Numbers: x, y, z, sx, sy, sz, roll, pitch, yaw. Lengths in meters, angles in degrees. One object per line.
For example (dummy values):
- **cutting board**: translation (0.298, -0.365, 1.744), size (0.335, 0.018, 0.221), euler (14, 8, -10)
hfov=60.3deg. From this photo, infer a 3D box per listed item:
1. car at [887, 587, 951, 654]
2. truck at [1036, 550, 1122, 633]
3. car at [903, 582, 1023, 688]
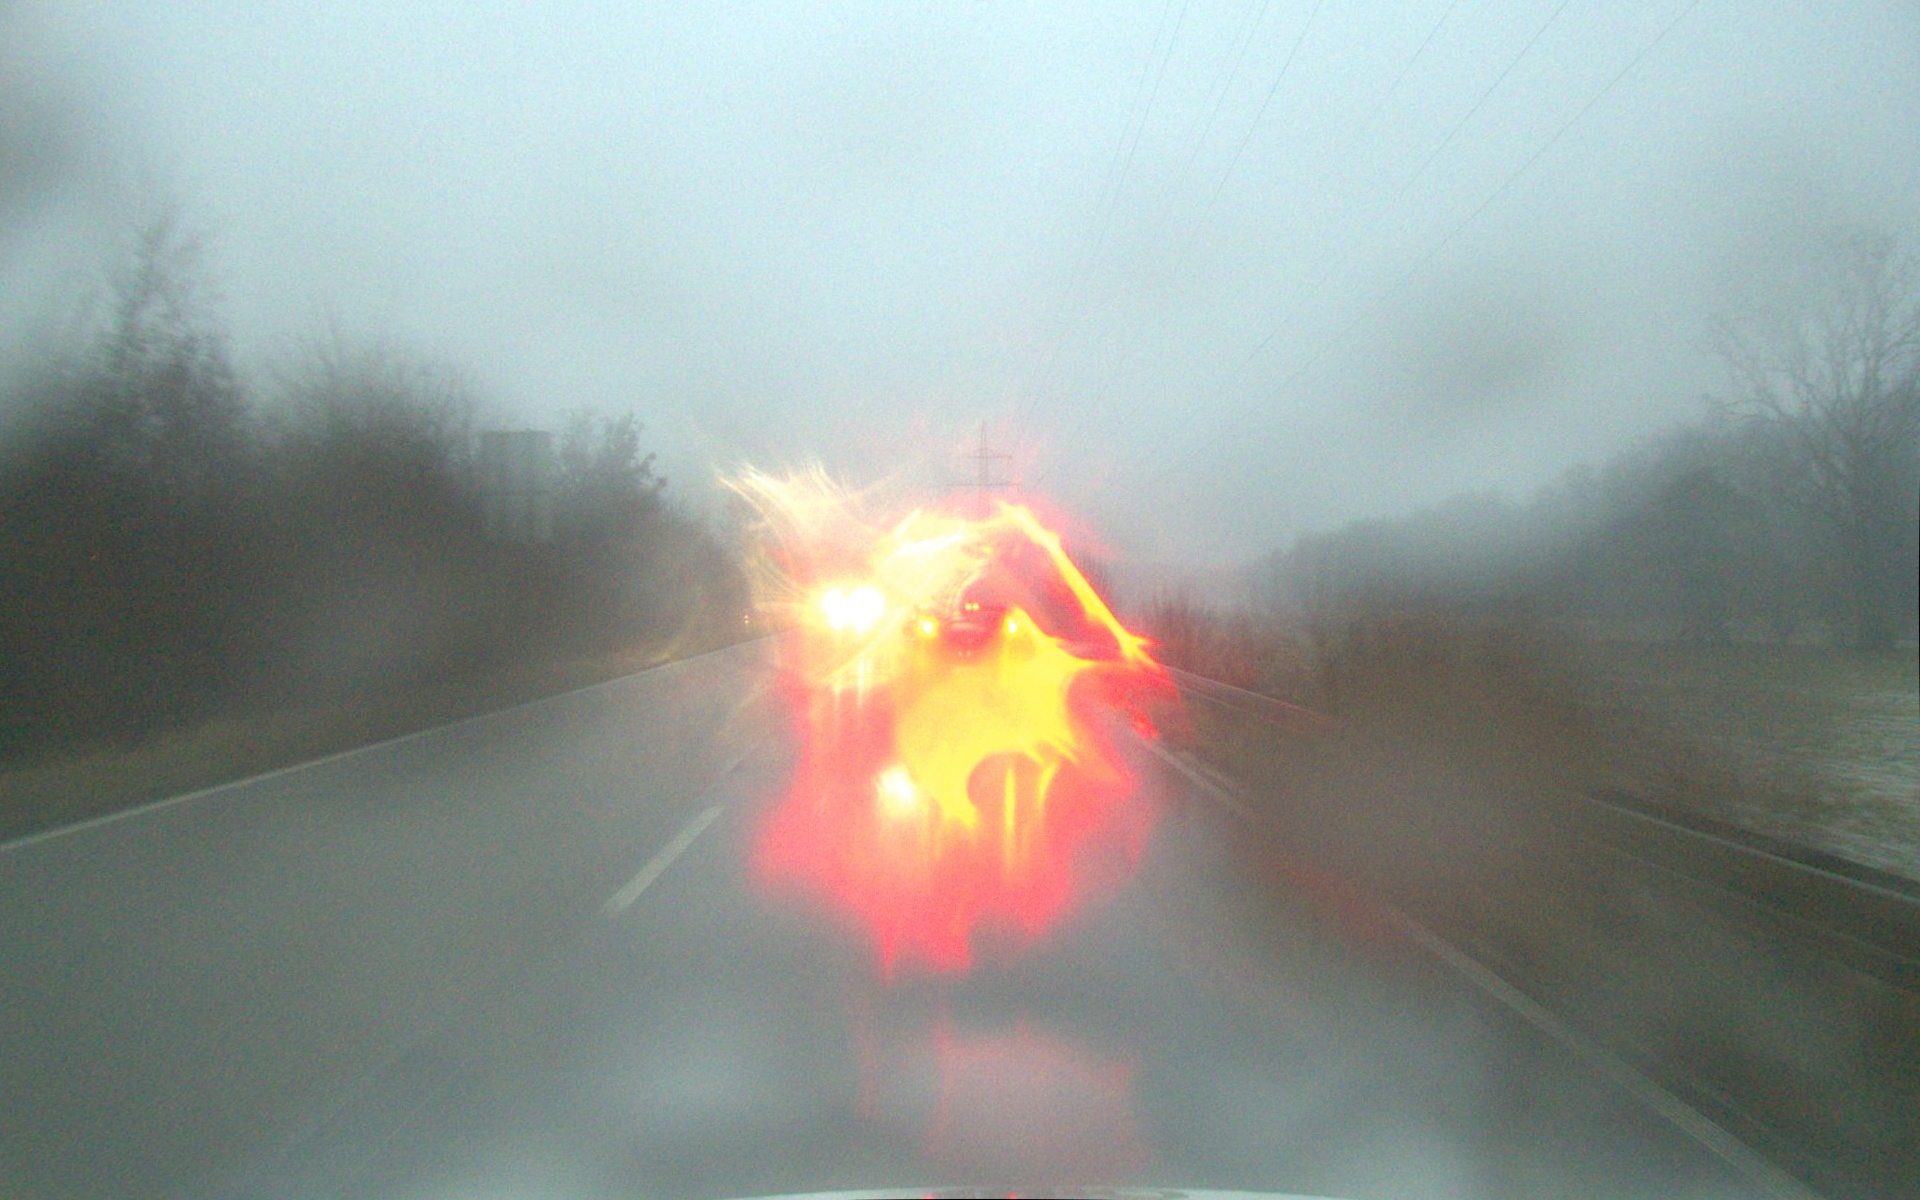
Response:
- **car**: translation (-1.342, 0.629, 53.108), size (1.816, 2.049, 3.996), euler (1, 0, -5)
- **truck**: translation (4.559, -0.295, 64.882), size (2.483, 3.030, 7.854), euler (1, 0, -2)
- **car**: translation (-0.015, 0.475, 23.937), size (1.471, 1.423, 3.196), euler (1, 0, -5)
